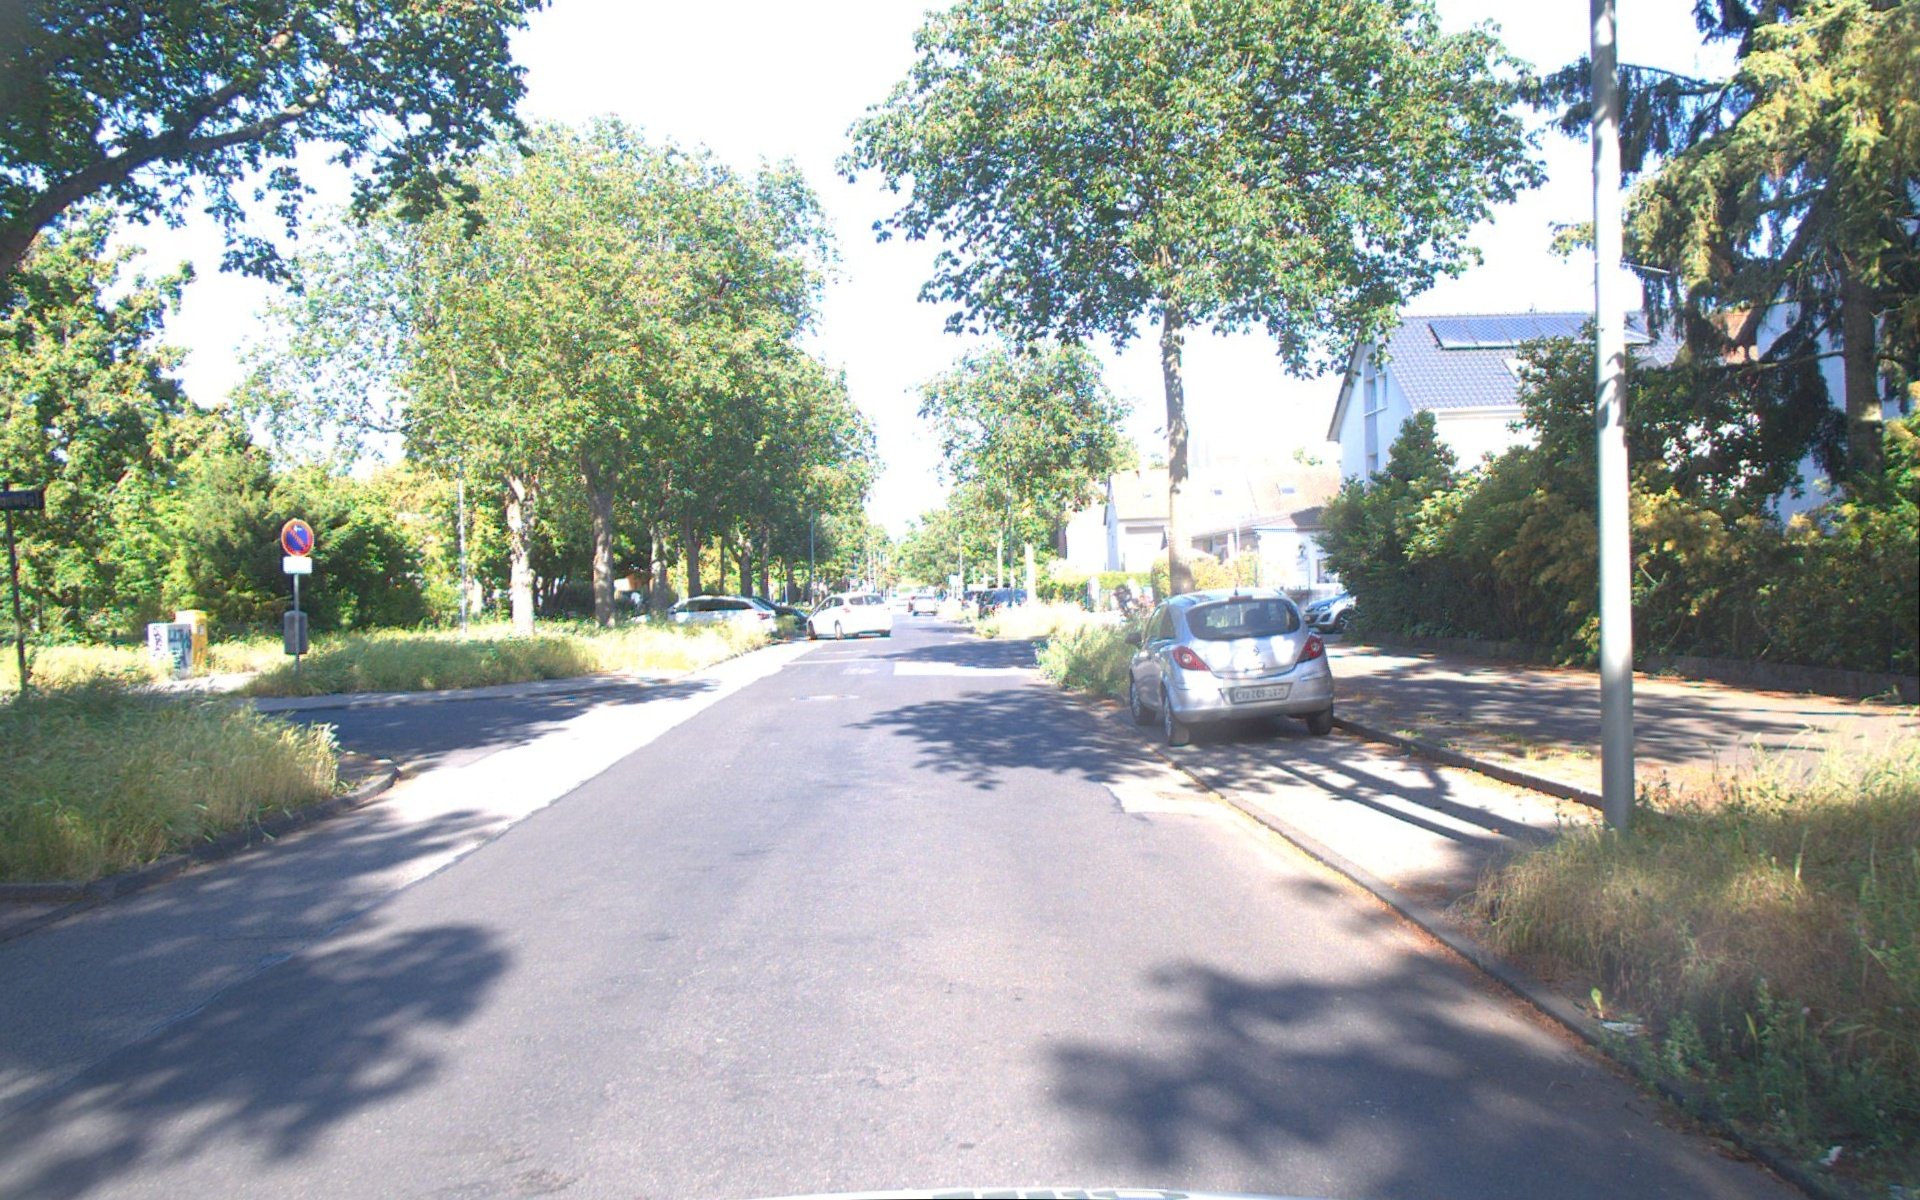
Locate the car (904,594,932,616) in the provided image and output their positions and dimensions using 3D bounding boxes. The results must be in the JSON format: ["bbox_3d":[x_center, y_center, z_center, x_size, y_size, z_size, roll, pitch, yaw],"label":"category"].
[{"bbox_3d":[-2.972,0.350,116.685,1.953,1.534,3.657,1,0,-2],"label":"car"}]

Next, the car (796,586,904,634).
[{"bbox_3d":[-3.678,0.310,54.796,1.972,1.480,4.183,-2,1,-29],"label":"car"}]

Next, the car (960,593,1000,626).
[{"bbox_3d":[1.147,0.554,97.022,1.954,1.758,3.997,-3,0,-4],"label":"car"}]

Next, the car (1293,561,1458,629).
[{"bbox_3d":[11.150,-0.140,44.488,3.912,1.668,1.773,-2,1,-8],"label":"car"}]

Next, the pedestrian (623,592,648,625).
[{"bbox_3d":[-18.617,0.480,94.933,1.206,1.859,1.543,0,-1,-18],"label":"pedestrian"}]

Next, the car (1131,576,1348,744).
[{"bbox_3d":[2.892,0.588,17.913,1.951,1.536,4.002,-3,-1,5],"label":"car"}]

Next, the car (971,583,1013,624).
[{"bbox_3d":[1.323,0.148,69.598,1.578,1.650,4.380,1,0,-1],"label":"car"}]

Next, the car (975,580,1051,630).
[{"bbox_3d":[1.816,0.155,58.187,1.956,1.650,4.374,1,0,-7],"label":"car"}]

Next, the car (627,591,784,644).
[{"bbox_3d":[-7.902,0.536,51.668,4.576,1.529,2.000,-1,0,0],"label":"car"}]

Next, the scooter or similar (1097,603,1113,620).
[{"bbox_3d":[7.443,0.571,84.760,0.362,0.873,1.406,0,0,-15],"label":"scooter or similar"}]

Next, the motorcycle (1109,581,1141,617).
[{"bbox_3d":[6.040,-0.053,60.563,0.801,1.248,2.351,-3,1,-2],"label":"motorcycle"}]
